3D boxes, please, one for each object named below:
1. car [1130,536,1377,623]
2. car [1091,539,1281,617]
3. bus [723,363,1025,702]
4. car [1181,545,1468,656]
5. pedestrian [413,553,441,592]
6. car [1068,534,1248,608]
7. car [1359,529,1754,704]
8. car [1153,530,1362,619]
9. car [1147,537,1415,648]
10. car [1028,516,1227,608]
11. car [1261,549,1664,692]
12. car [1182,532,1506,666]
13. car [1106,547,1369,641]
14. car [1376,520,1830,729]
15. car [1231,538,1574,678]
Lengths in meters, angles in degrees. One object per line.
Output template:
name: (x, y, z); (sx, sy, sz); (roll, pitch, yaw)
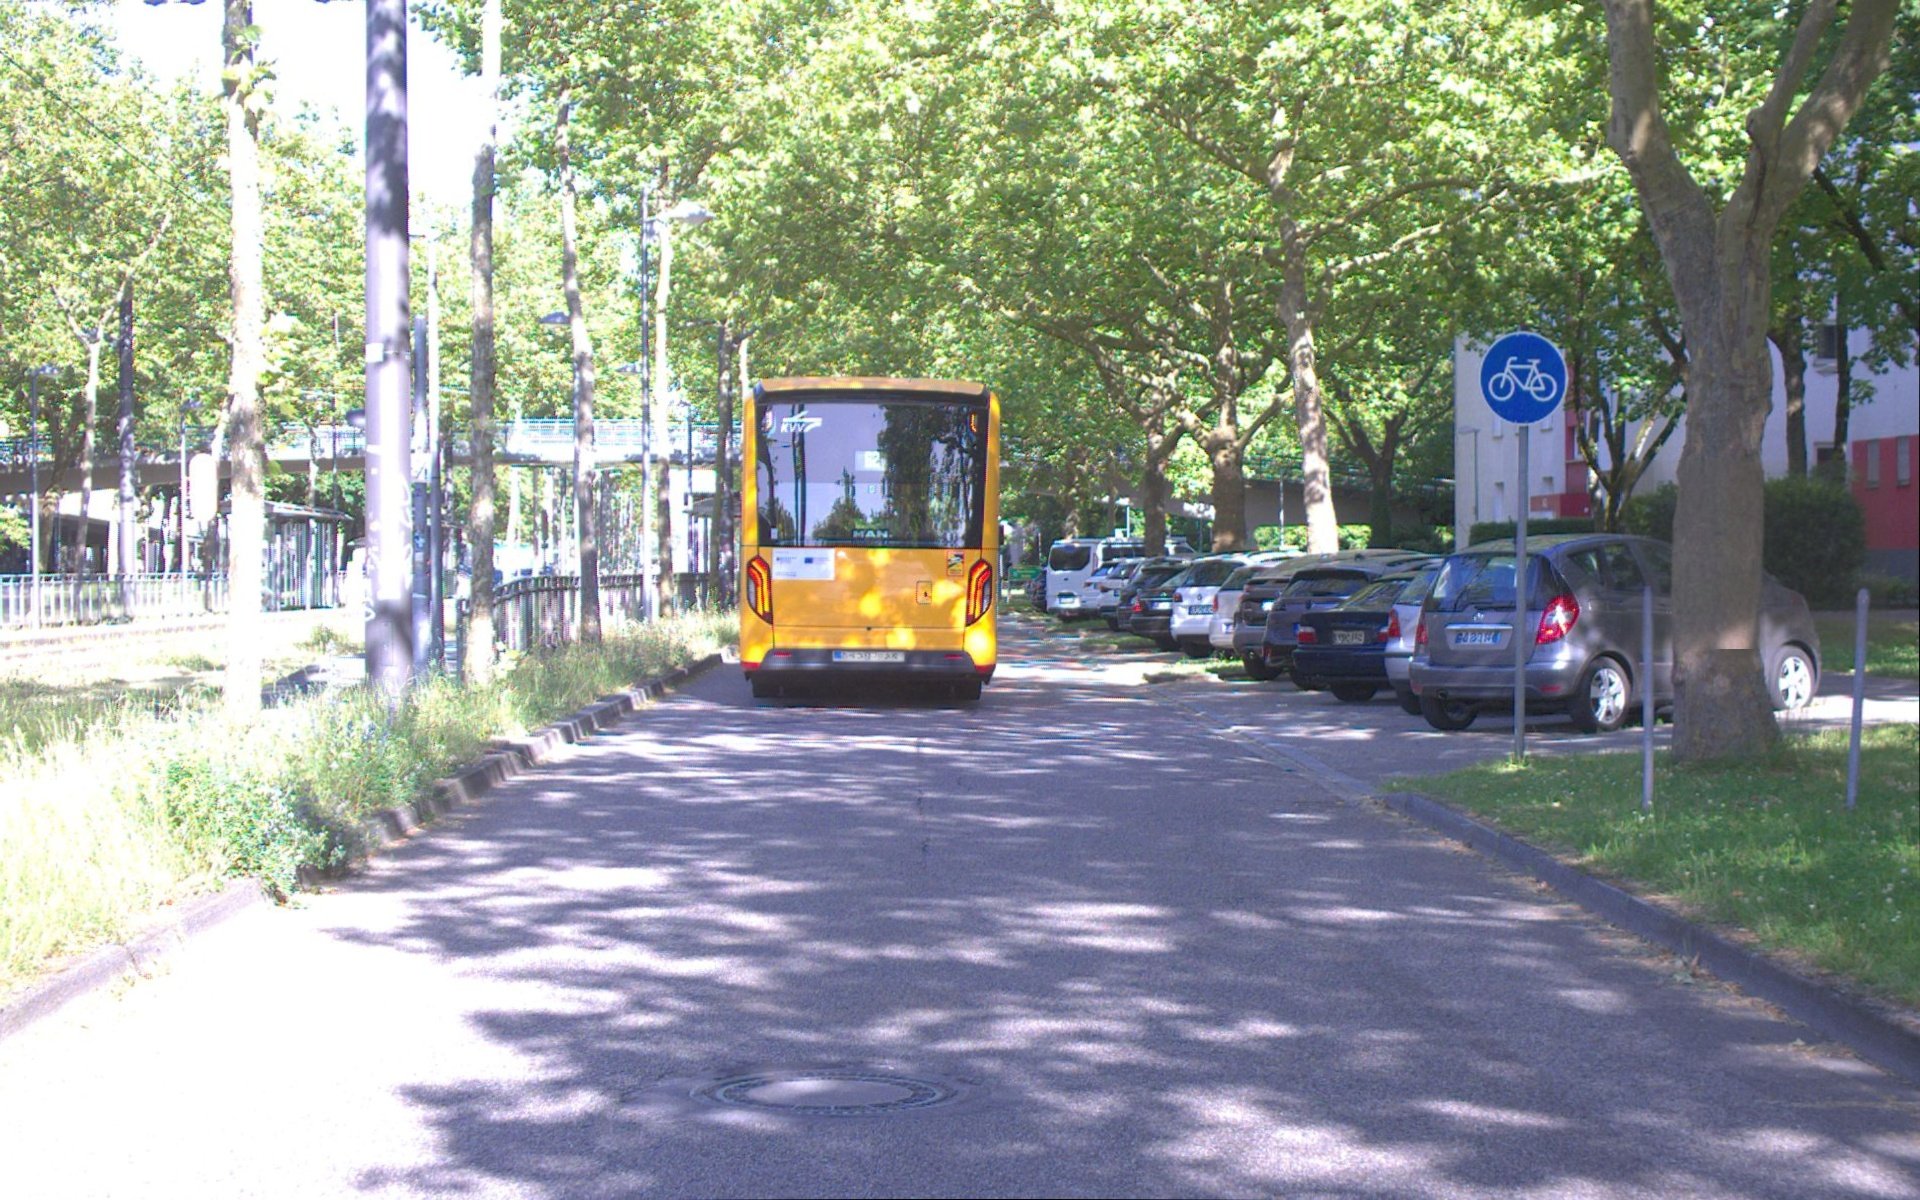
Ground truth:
car: (5.430, -0.391, 63.267); (4.396, 1.423, 1.951); (-3, 1, -40)
car: (4.847, -0.477, 73.407); (1.798, 1.505, 4.202); (-2, 1, 42)
bus: (-1.036, -0.704, 39.325); (2.899, 3.255, 12.219); (0, 1, -2)
car: (5.169, -0.014, 48.515); (3.989, 1.439, 1.799); (-2, 1, -42)
pedestrian: (-16.807, -0.868, 108.456); (0.778, 1.233, 0.722); (0, 0, -2)
car: (4.605, -0.676, 79.674); (4.047, 1.575, 1.832); (-3, 1, -44)
car: (5.583, 0.126, 32.002); (3.574, 1.487, 1.799); (-2, 1, -43)
car: (5.825, -0.499, 67.056); (3.989, 1.584, 1.799); (-3, 1, -43)
car: (4.917, -0.135, 52.407); (3.989, 1.570, 1.799); (-2, 1, -41)
car: (4.058, -0.921, 82.840); (4.577, 2.045, 2.017); (-3, 1, -41)
car: (5.173, 0.179, 35.120); (4.135, 1.313, 1.799); (-2, 1, -41)
car: (4.729, -0.033, 41.971); (1.798, 1.505, 4.167); (0, 1, 42)
car: (4.619, -0.111, 56.768); (1.799, 1.418, 4.578); (0, 1, 44)
car: (5.407, 0.167, 28.707); (3.716, 1.587, 1.799); (-2, 1, -42)
car: (5.014, 0.060, 38.698); (3.878, 1.441, 1.799); (-2, 1, -45)
